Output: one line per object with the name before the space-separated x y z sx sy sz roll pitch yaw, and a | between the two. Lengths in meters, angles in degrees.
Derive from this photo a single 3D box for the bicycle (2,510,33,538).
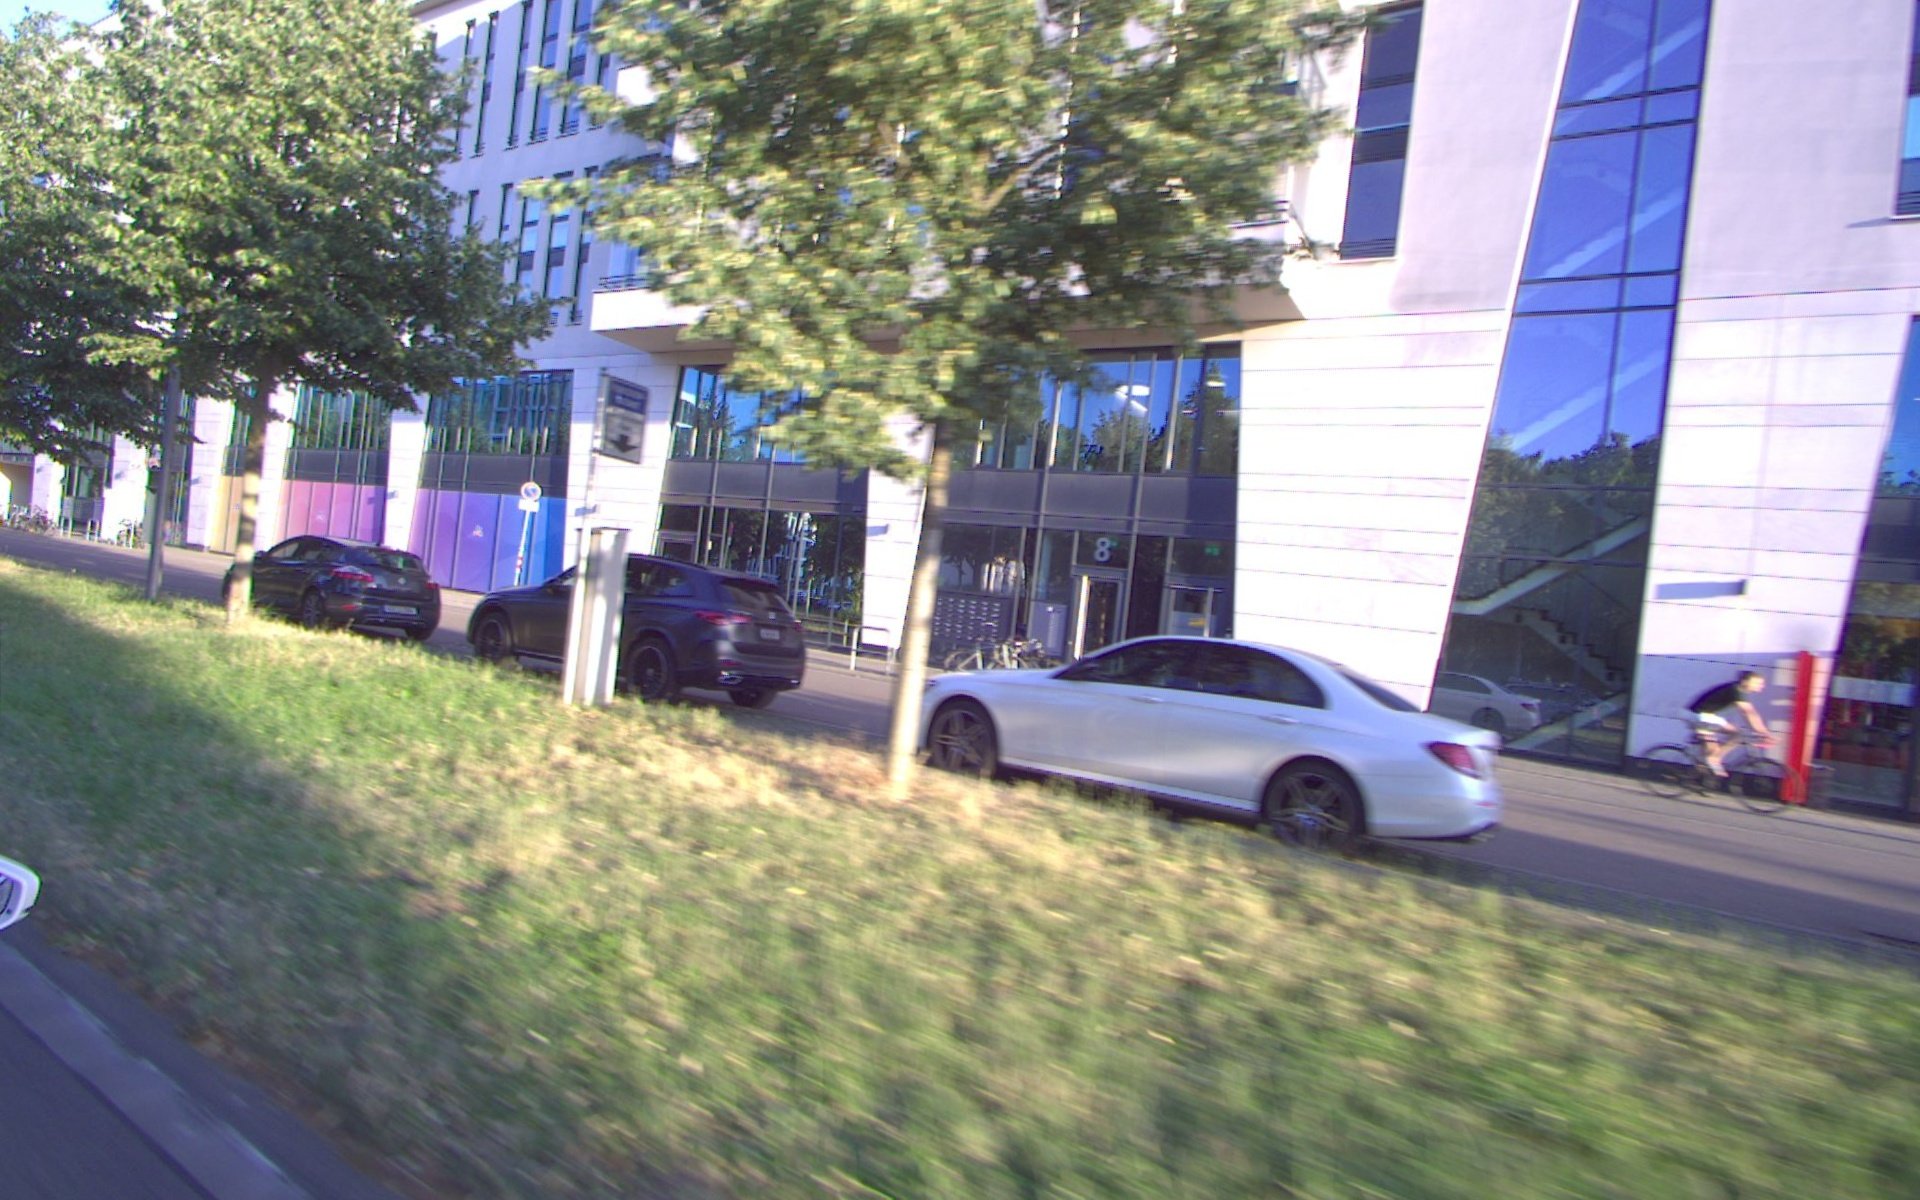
bicycle | -42.139 -3.408 44.990 1.826 1.075 0.533 6 2 32

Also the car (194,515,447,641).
car | -10.392 -0.380 16.276 4.163 1.518 1.727 6 -1 32

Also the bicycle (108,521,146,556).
bicycle | -31.363 -2.332 37.884 1.752 1.179 0.538 6 2 32

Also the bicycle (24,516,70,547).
bicycle | -36.933 -2.778 40.704 1.822 1.075 0.534 6 2 19

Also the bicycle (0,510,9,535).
bicycle | -43.315 -3.512 45.084 1.826 1.075 0.533 6 2 32

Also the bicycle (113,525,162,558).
bicycle | -31.224 -2.226 38.192 1.822 1.075 0.534 6 2 19

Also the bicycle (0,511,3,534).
bicycle | -45.823 -3.727 47.462 1.826 1.075 0.533 6 2 32

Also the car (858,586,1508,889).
car | 1.748 0.936 8.540 4.926 1.519 1.924 6 -1 31

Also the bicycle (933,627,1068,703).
bicycle | 0.682 1.116 17.488 2.223 1.046 0.621 6 0 31

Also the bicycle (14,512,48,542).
bicycle | -38.612 -3.032 41.793 1.826 1.075 0.533 6 2 32

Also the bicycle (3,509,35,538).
bicycle | -40.336 -3.273 43.126 1.826 1.075 0.533 6 2 32

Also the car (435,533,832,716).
car | -4.166 0.272 12.600 4.740 1.642 1.958 6 -3 31

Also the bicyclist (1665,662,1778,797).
bicyclist | 9.921 1.669 13.142 1.003 1.588 0.544 6 0 35

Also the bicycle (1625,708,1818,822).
bicycle | 9.872 2.110 13.140 1.883 1.132 0.543 6 0 35
